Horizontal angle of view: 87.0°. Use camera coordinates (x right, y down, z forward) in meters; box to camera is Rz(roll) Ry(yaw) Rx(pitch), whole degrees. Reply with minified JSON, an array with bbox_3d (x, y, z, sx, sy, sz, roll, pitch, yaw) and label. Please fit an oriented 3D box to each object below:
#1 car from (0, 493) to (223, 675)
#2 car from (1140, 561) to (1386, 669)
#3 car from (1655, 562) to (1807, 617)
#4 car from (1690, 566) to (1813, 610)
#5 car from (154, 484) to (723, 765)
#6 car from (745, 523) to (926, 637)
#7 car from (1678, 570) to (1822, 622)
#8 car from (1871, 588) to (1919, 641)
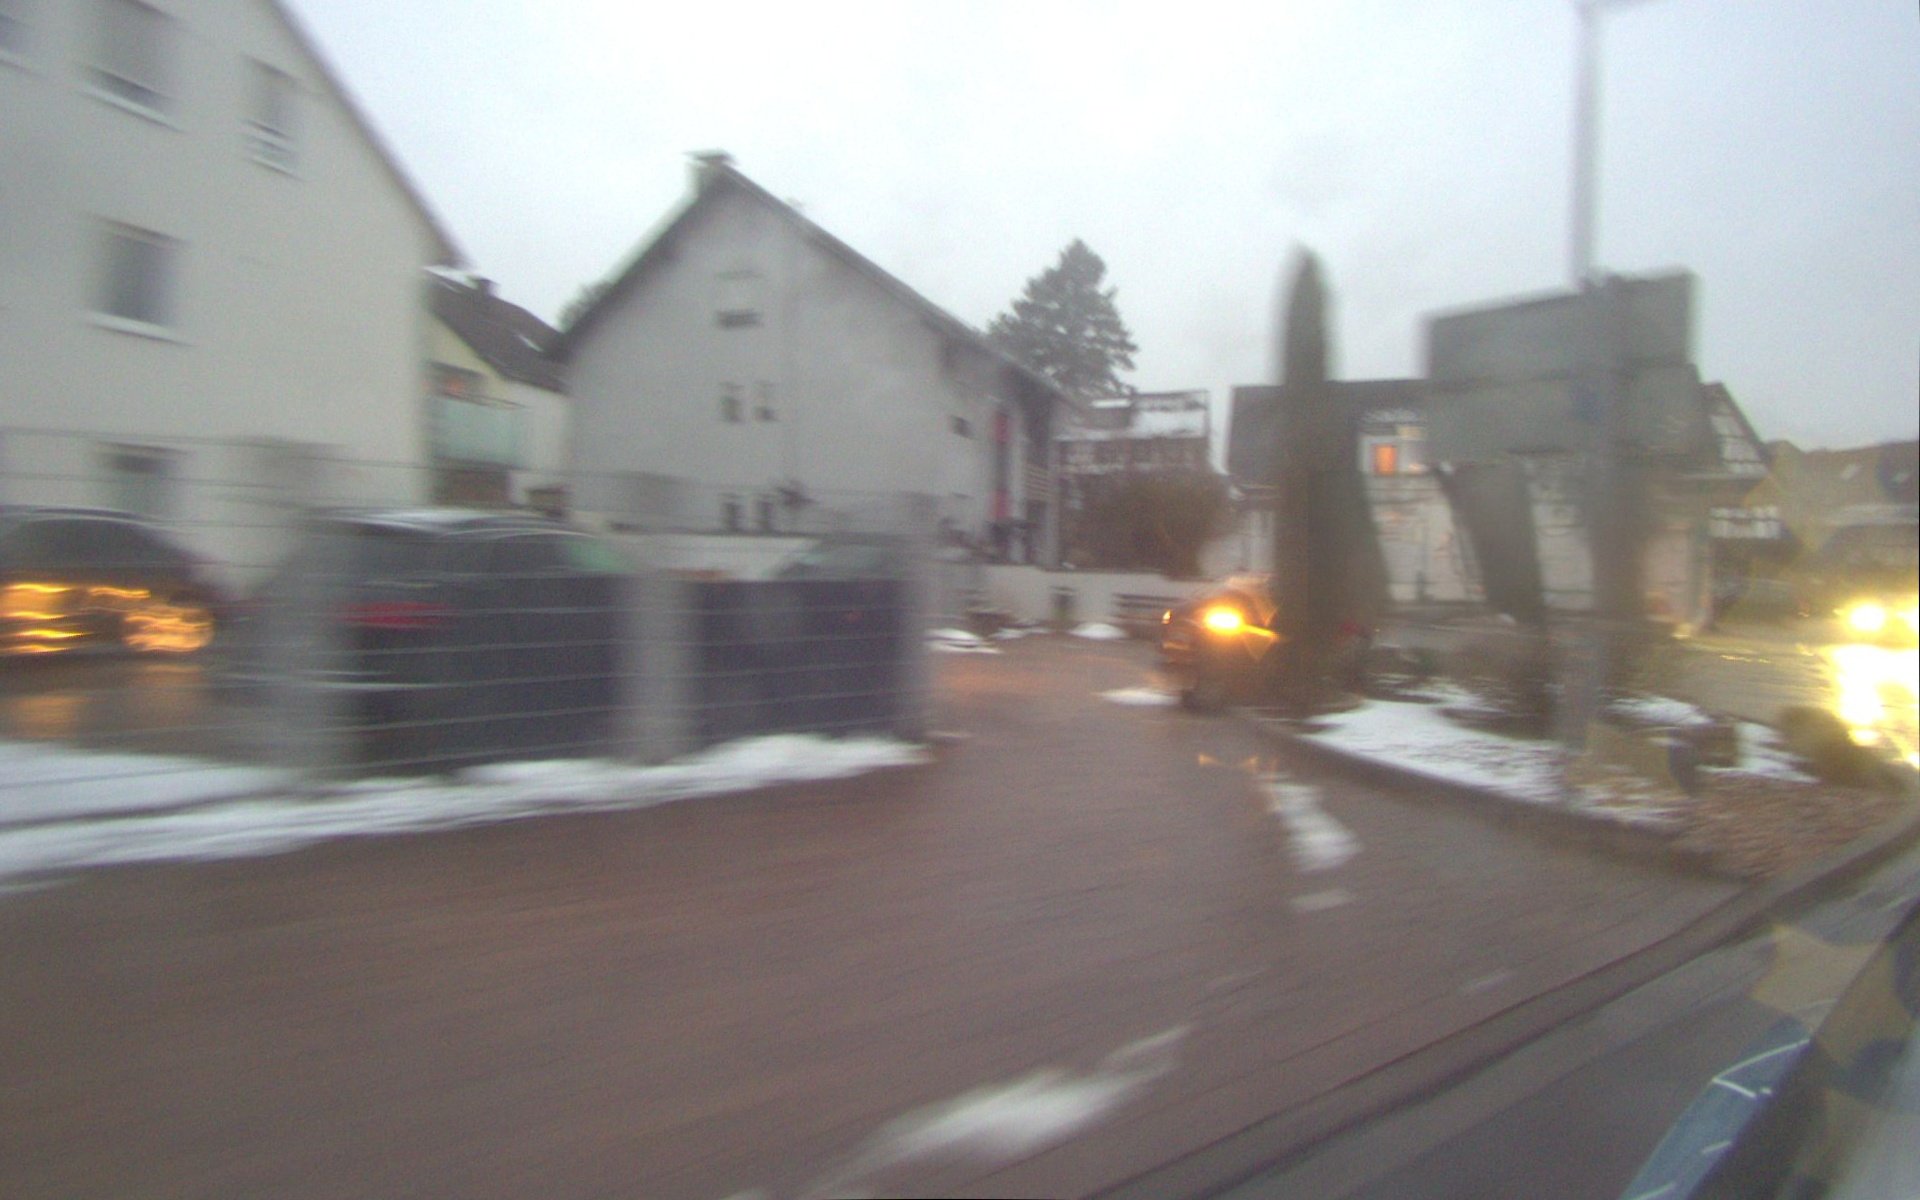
[{"bbox_3d":[-9.241,-0.197,9.145,1.788,1.585,3.986,4,3,13],"label":"car"},{"bbox_3d":[4.717,0.186,15.680,3.624,1.484,1.553,0,2,-29],"label":"car"},{"bbox_3d":[31.592,-0.492,41.634,4.422,1.679,1.845,6,6,19],"label":"car"},{"bbox_3d":[36.142,-0.585,46.313,3.927,1.532,1.592,6,6,14],"label":"car"},{"bbox_3d":[-3.880,0.037,8.600,1.788,1.648,4.535,4,3,13],"label":"car"},{"bbox_3d":[-2.023,-0.406,17.694,1.788,1.651,4.121,4,3,13],"label":"car"},{"bbox_3d":[30.494,-0.195,39.225,3.849,1.466,1.877,7,7,21],"label":"car"},{"bbox_3d":[30.895,0.456,32.580,4.088,1.598,1.996,0,2,-44],"label":"car"}]
